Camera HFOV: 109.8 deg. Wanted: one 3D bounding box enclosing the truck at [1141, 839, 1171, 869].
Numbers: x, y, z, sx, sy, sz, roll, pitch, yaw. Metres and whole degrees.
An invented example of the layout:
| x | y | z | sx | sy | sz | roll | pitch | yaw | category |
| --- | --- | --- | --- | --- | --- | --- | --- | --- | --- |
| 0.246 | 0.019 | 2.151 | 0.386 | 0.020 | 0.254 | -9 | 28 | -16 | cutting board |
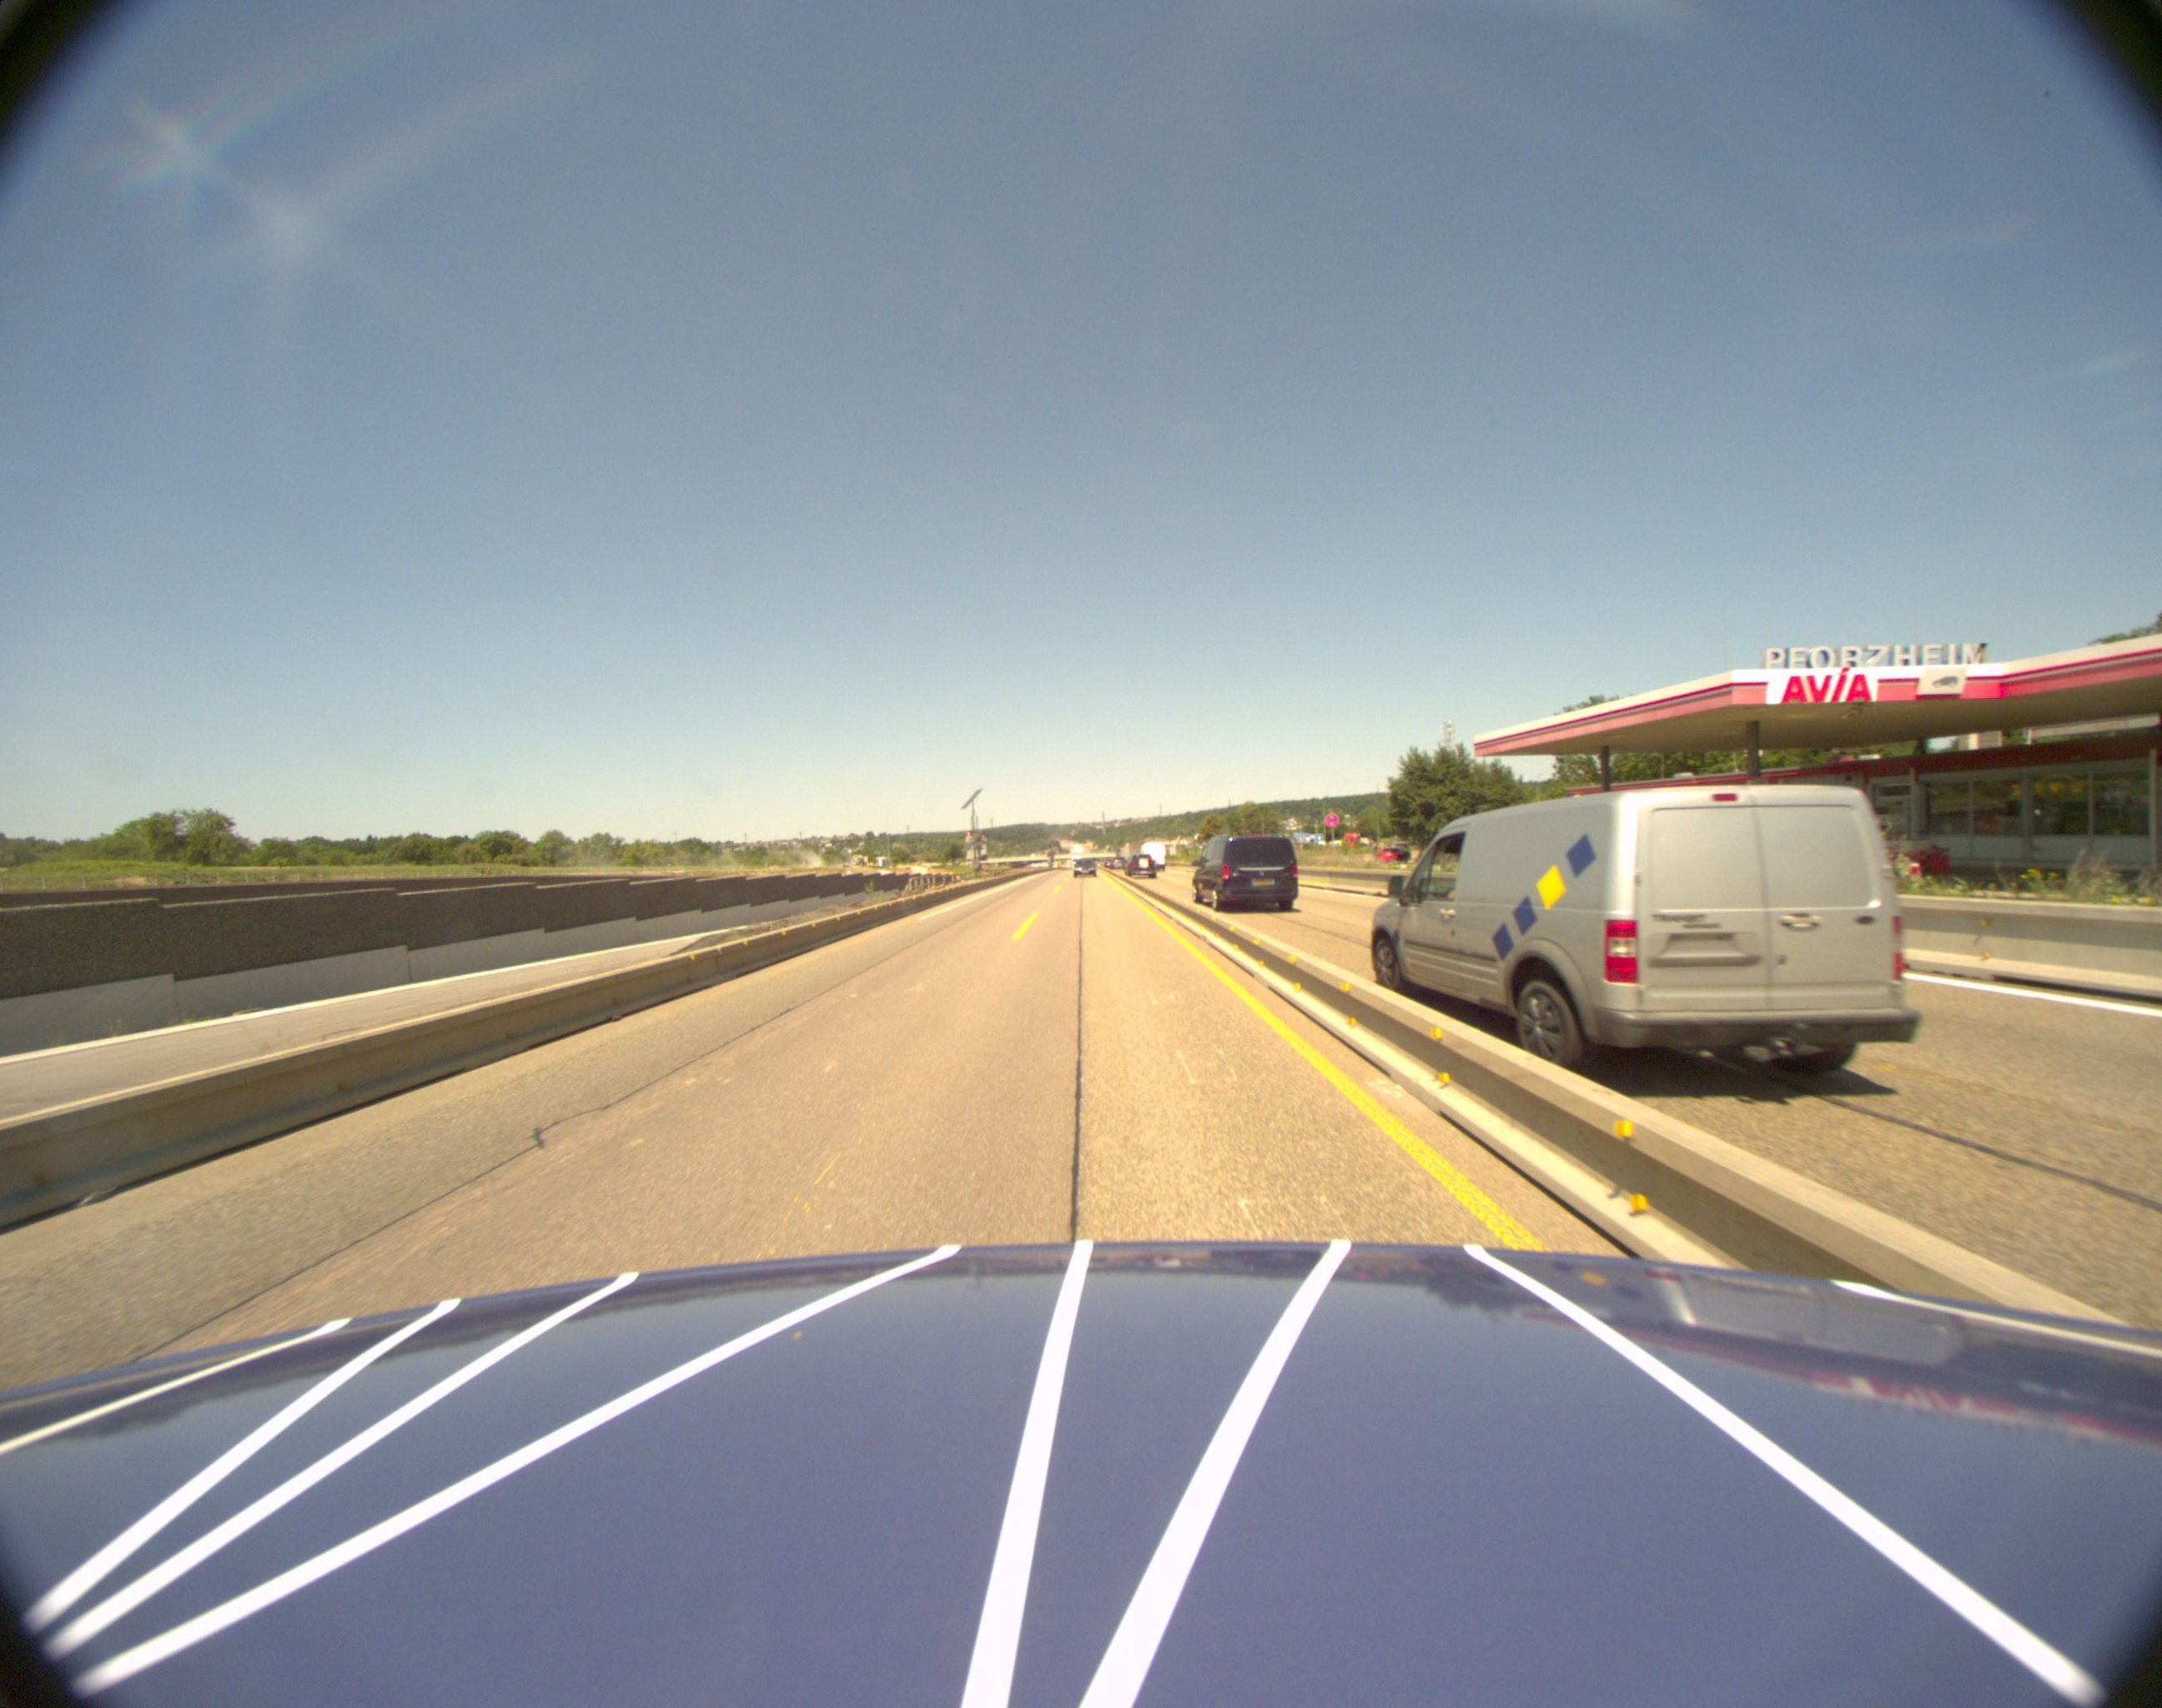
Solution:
| x | y | z | sx | sy | sz | roll | pitch | yaw | category |
| --- | --- | --- | --- | --- | --- | --- | --- | --- | --- |
| 7.410 | 0.032 | 75.612 | 2.245 | 2.770 | 6.492 | -2 | 0 | 0 | truck |

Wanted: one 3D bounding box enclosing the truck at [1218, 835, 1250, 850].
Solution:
| x | y | z | sx | sy | sz | roll | pitch | yaw | category |
| --- | --- | --- | --- | --- | --- | --- | --- | --- | --- |
| 47.190 | -3.594 | 234.570 | 9.253 | 3.652 | 2.867 | -6 | 0 | 44 | truck |

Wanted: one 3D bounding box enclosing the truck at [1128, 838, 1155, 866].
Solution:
| x | y | z | sx | sy | sz | roll | pitch | yaw | category |
| --- | --- | --- | --- | --- | --- | --- | --- | --- | --- |
| 7.338 | -0.235 | 93.000 | 2.501 | 3.273 | 8.116 | -2 | 0 | 0 | truck |

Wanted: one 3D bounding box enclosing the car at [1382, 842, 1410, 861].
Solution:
| x | y | z | sx | sy | sz | roll | pitch | yaw | category |
| --- | --- | --- | --- | --- | --- | --- | --- | --- | --- |
| 26.563 | -0.248 | 63.975 | 1.500 | 1.324 | 4.193 | -5 | 0 | 30 | car |

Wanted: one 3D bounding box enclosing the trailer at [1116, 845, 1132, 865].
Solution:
| x | y | z | sx | sy | sz | roll | pitch | yaw | category |
| --- | --- | --- | --- | --- | --- | --- | --- | --- | --- |
| 9.556 | 0.209 | 168.988 | 3.014 | 4.173 | 13.852 | -2 | 0 | 1 | trailer |

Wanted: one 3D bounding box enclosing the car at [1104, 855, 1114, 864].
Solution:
| x | y | z | sx | sy | sz | roll | pitch | yaw | category |
| --- | --- | --- | --- | --- | --- | --- | --- | --- | --- |
| 4.872 | 0.891 | 130.773 | 1.686 | 1.420 | 4.202 | -2 | 0 | 2 | car |

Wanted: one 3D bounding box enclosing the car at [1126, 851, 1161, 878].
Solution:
| x | y | z | sx | sy | sz | roll | pitch | yaw | category |
| --- | --- | --- | --- | --- | --- | --- | --- | --- | --- |
| 4.065 | 0.678 | 49.850 | 1.860 | 1.594 | 4.735 | -2 | 0 | 0 | car |

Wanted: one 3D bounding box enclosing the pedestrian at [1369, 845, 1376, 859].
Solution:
| x | y | z | sx | sy | sz | roll | pitch | yaw | category |
| --- | --- | --- | --- | --- | --- | --- | --- | --- | --- |
| 24.734 | -0.169 | 64.493 | 0.474 | 1.197 | 0.586 | -2 | 0 | 15 | pedestrian |

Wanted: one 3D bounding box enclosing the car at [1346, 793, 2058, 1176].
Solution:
| x | y | z | sx | sy | sz | roll | pitch | yaw | category |
| --- | --- | --- | --- | --- | --- | --- | --- | --- | --- |
| 3.865 | 0.658 | 6.040 | 1.858 | 1.829 | 4.591 | -2 | 0 | 0 | car |

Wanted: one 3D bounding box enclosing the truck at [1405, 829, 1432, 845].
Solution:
| x | y | z | sx | sy | sz | roll | pitch | yaw | category |
| --- | --- | --- | --- | --- | --- | --- | --- | --- | --- |
| 63.233 | -3.158 | 142.630 | 2.275 | 2.751 | 5.631 | -3 | 0 | -2 | truck |

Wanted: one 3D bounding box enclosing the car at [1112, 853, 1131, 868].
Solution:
| x | y | z | sx | sy | sz | roll | pitch | yaw | category |
| --- | --- | --- | --- | --- | --- | --- | --- | --- | --- |
| 4.453 | 0.702 | 84.229 | 1.943 | 1.601 | 4.000 | -2 | 0 | 2 | car |

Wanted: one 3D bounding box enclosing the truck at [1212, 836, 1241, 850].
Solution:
| x | y | z | sx | sy | sz | roll | pitch | yaw | category |
| --- | --- | --- | --- | --- | --- | --- | --- | --- | --- |
| 47.167 | -3.580 | 246.410 | 9.135 | 3.522 | 2.696 | -6 | 0 | 44 | truck |

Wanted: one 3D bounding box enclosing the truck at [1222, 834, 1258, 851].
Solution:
| x | y | z | sx | sy | sz | roll | pitch | yaw | category |
| --- | --- | --- | --- | --- | --- | --- | --- | --- | --- |
| 47.595 | -3.362 | 227.964 | 9.869 | 4.195 | 3.591 | -6 | 0 | 43 | truck |

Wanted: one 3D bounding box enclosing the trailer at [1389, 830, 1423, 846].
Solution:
| x | y | z | sx | sy | sz | roll | pitch | yaw | category |
| --- | --- | --- | --- | --- | --- | --- | --- | --- | --- |
| 63.111 | -3.120 | 147.939 | 2.260 | 2.751 | 9.395 | -3 | 0 | -2 | trailer |

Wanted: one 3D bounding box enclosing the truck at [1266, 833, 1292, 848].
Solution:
| x | y | z | sx | sy | sz | roll | pitch | yaw | category |
| --- | --- | --- | --- | --- | --- | --- | --- | --- | --- |
| 53.156 | -3.589 | 203.979 | 5.724 | 3.596 | 2.585 | -5 | 0 | 41 | truck |

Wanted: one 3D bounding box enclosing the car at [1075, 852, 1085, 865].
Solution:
| x | y | z | sx | sy | sz | roll | pitch | yaw | category |
| --- | --- | --- | --- | --- | --- | --- | --- | --- | --- |
| -0.319 | 1.176 | 204.143 | 2.544 | 3.126 | 7.547 | -3 | 0 | -1 | car |

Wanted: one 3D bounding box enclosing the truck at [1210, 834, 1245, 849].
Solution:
| x | y | z | sx | sy | sz | roll | pitch | yaw | category |
| --- | --- | --- | --- | --- | --- | --- | --- | --- | --- |
| 48.320 | -4.106 | 251.381 | 11.491 | 3.652 | 2.535 | -6 | 0 | 44 | truck |

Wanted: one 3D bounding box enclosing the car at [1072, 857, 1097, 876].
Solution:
| x | y | z | sx | sy | sz | roll | pitch | yaw | category |
| --- | --- | --- | --- | --- | --- | --- | --- | --- | --- |
| 0.294 | 0.930 | 56.933 | 1.810 | 1.299 | 4.000 | -2 | 0 | 1 | car |

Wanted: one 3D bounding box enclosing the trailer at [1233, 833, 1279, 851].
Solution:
| x | y | z | sx | sy | sz | roll | pitch | yaw | category |
| --- | --- | --- | --- | --- | --- | --- | --- | --- | --- |
| 48.013 | -3.205 | 208.928 | 12.721 | 3.762 | 2.625 | -6 | 0 | 45 | trailer |

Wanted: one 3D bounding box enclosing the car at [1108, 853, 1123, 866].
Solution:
| x | y | z | sx | sy | sz | roll | pitch | yaw | category |
| --- | --- | --- | --- | --- | --- | --- | --- | --- | --- |
| 4.832 | 0.778 | 107.976 | 1.947 | 1.649 | 4.745 | -1 | 0 | 1 | car |

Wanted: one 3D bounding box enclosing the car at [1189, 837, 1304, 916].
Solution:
| x | y | z | sx | sy | sz | roll | pitch | yaw | category |
| --- | --- | --- | --- | --- | --- | --- | --- | --- | --- |
| 4.206 | 0.541 | 20.201 | 1.912 | 1.794 | 5.082 | -2 | 0 | 0 | car |

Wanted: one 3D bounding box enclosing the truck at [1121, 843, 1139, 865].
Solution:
| x | y | z | sx | sy | sz | roll | pitch | yaw | category |
| --- | --- | --- | --- | --- | --- | --- | --- | --- | --- |
| 7.964 | 0.025 | 124.260 | 2.395 | 3.364 | 7.715 | -2 | 0 | 1 | truck |
